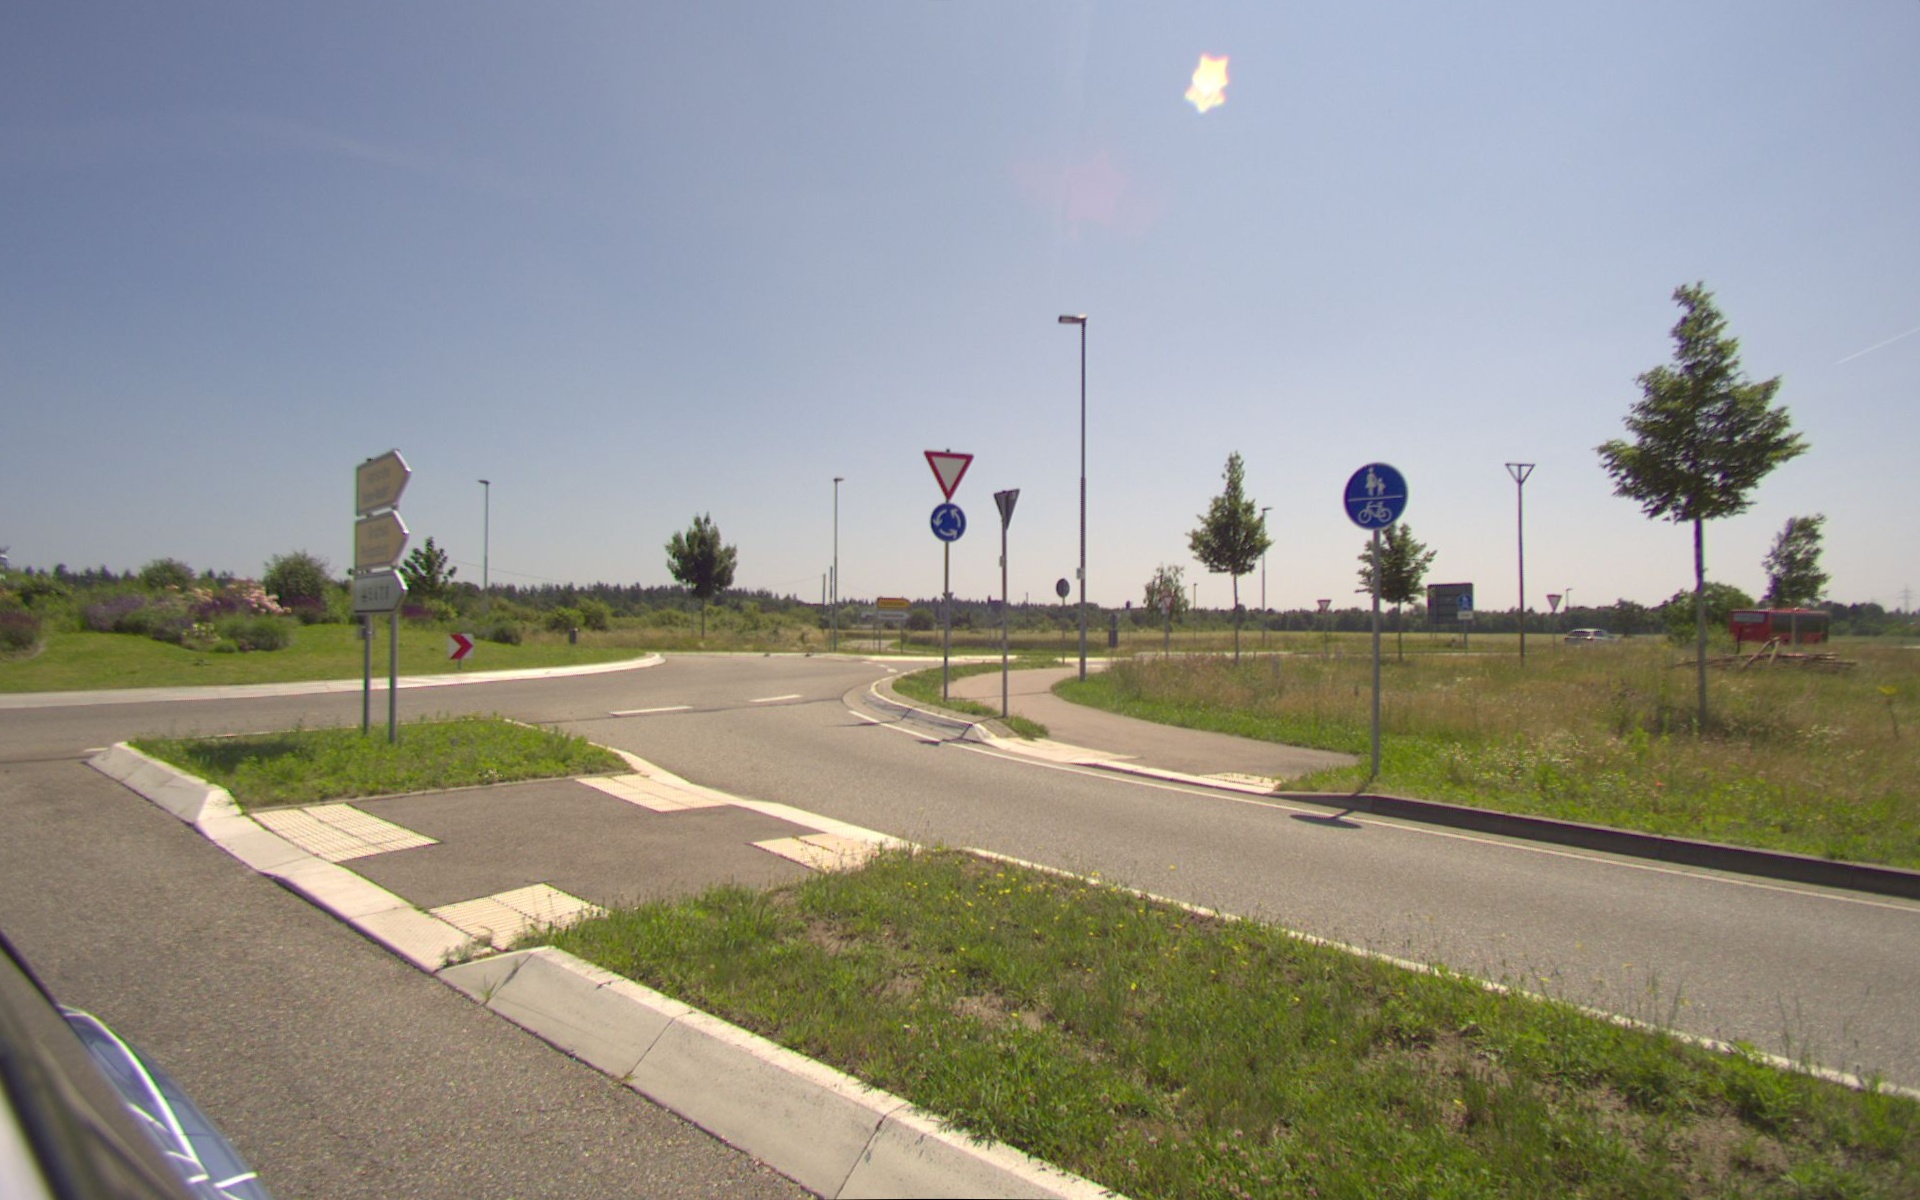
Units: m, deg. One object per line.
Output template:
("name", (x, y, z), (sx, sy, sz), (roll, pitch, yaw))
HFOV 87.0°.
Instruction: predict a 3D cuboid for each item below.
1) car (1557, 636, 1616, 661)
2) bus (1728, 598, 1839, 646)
("car", (36.811, 2.832, 59.471), (3.543, 1.475, 1.733), (2, -3, -36))
("bus", (60.426, 1.691, 74.133), (11.792, 3.334, 3.321), (2, -3, -36))
